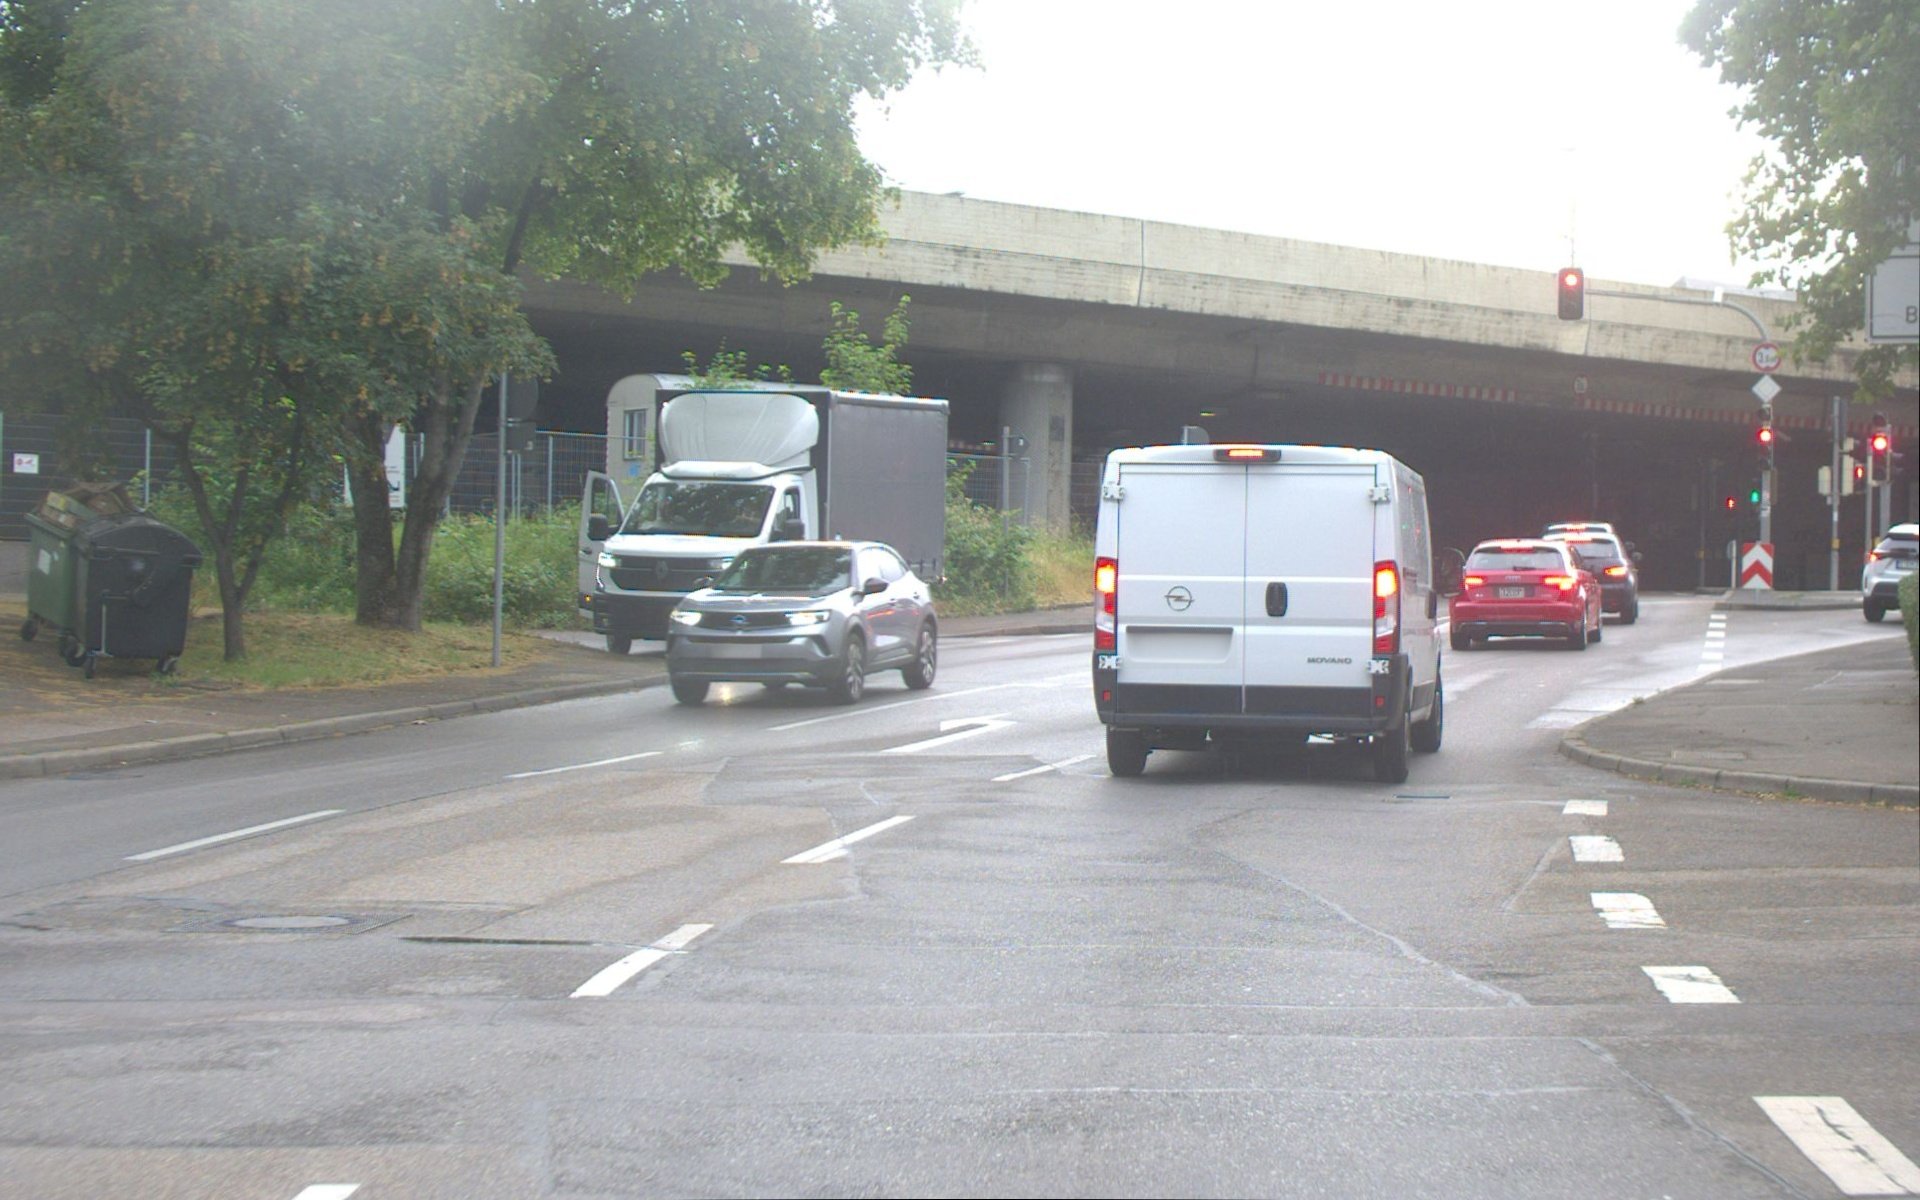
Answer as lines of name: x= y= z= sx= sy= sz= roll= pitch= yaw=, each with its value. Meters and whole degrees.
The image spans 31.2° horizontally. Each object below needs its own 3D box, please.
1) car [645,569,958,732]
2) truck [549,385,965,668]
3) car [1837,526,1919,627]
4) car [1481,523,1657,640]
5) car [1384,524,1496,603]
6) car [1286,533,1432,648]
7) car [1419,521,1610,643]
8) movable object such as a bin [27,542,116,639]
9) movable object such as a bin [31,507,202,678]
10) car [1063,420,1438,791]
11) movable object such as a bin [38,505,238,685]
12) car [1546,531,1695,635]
car: x=-1.475 y=0.443 z=33.614 sx=1.896 sy=1.456 sz=3.997 roll=1 pitch=1 yaw=16
truck: x=-2.368 y=-0.908 z=43.477 sx=2.612 sy=3.226 sz=7.770 roll=1 pitch=1 yaw=17
car: x=15.589 y=-0.350 z=54.859 sx=1.997 sy=1.544 sz=3.993 roll=1 pitch=0 yaw=31
car: x=9.580 y=-0.284 z=53.864 sx=1.996 sy=1.723 sz=3.996 roll=1 pitch=0 yaw=21
car: x=10.602 y=-0.836 z=75.766 sx=1.833 sy=1.573 sz=4.331 roll=2 pitch=3 yaw=16
car: x=7.085 y=-0.198 z=60.642 sx=1.959 sy=1.924 sz=4.680 roll=1 pitch=1 yaw=14
car: x=7.396 y=-0.233 z=45.564 sx=1.995 sy=1.508 sz=3.997 roll=1 pitch=0 yaw=16
movable object such as a bin: x=-8.899 y=-0.099 z=34.444 sx=0.557 sy=0.954 sz=0.723 roll=1 pitch=0 yaw=16
movable object such as a bin: x=-8.138 y=-0.080 z=33.118 sx=1.097 sy=1.432 sz=1.463 roll=4 pitch=5 yaw=-31
car: x=2.218 y=-0.046 z=24.730 sx=2.306 sy=2.335 sz=5.281 roll=1 pitch=2 yaw=9
movable object such as a bin: x=-7.599 y=-0.052 z=31.740 sx=1.290 sy=1.432 sz=1.463 roll=4 pitch=5 yaw=-31
car: x=11.556 y=-0.290 z=59.962 sx=1.995 sy=1.723 sz=3.996 roll=1 pitch=0 yaw=19
